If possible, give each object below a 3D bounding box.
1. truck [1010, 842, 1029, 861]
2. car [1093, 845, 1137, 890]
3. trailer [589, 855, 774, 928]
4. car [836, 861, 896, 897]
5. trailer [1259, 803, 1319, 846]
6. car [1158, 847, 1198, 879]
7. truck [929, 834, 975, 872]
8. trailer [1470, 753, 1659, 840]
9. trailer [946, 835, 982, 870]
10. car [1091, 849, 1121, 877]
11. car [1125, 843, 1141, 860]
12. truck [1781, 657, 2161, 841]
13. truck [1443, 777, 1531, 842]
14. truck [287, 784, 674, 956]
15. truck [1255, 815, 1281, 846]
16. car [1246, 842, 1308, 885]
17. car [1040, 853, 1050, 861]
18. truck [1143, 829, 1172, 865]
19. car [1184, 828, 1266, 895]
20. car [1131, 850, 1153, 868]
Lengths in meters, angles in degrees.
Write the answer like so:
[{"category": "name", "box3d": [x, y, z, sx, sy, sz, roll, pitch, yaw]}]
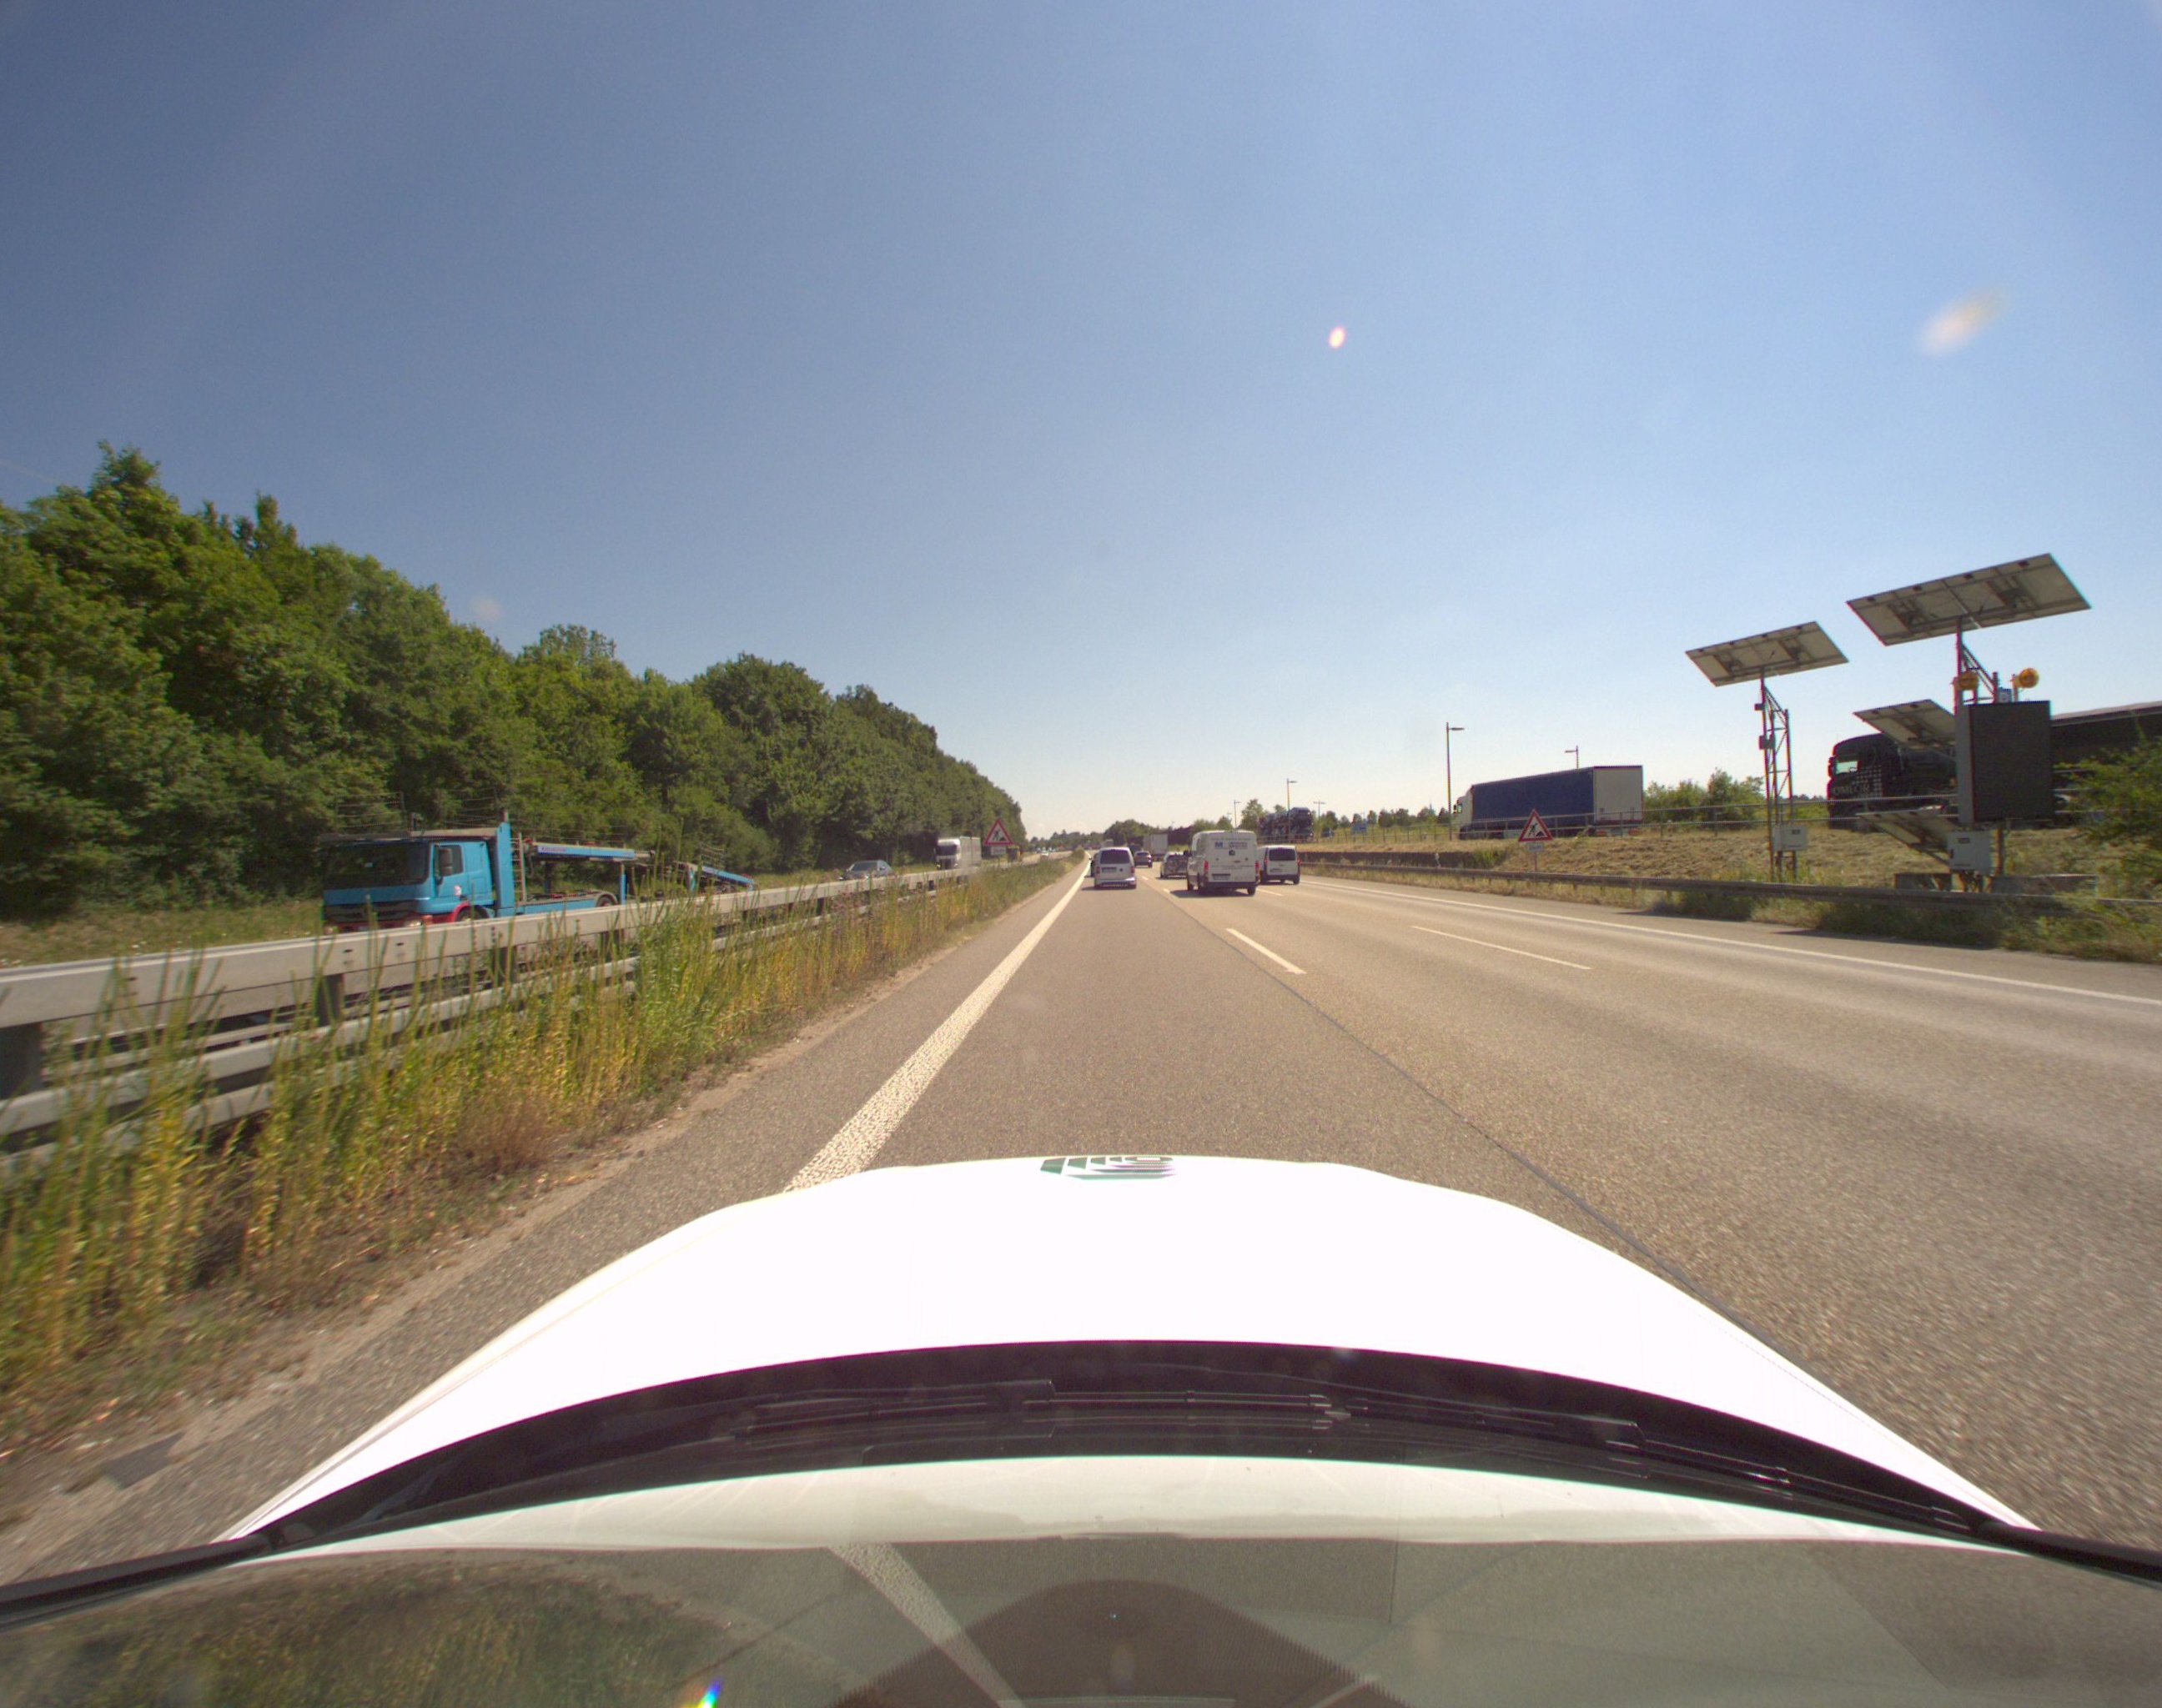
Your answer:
[{"category": "truck", "box3d": [-12.612, -0.501, 167.387, 2.773, 3.738, 11.159, 0, 0, 1]}, {"category": "car", "box3d": [1.490, 0.567, 35.540, 1.738, 1.764, 4.091, -2, 0, 3]}, {"category": "trailer", "box3d": [-16.021, 1.374, 33.650, 3.133, 2.639, 8.537, 0, 0, 3]}, {"category": "car", "box3d": [-11.287, 1.257, 43.066, 1.718, 1.656, 4.861, -4, 0, 1]}, {"category": "trailer", "box3d": [23.842, -3.153, 94.650, 2.596, 4.258, 18.425, 0, 0, 1]}, {"category": "car", "box3d": [5.587, 0.510, 47.270, 1.968, 1.733, 4.091, -2, 0, 3]}, {"category": "truck", "box3d": [-14.966, -0.095, 95.625, 3.442, 3.994, 11.122, -2, 0, 0]}, {"category": "trailer", "box3d": [27.937, -3.035, 48.431, 3.041, 4.083, 14.261, 0, 0, 1]}, {"category": "trailer", "box3d": [-15.000, -0.171, 105.133, 3.442, 4.279, 7.969, 0, 0, 0]}, {"category": "car", "box3d": [1.625, 0.555, 52.449, 1.737, 1.701, 4.092, -2, 0, 3]}, {"category": "car", "box3d": [6.101, -0.263, 95.949, 1.668, 1.891, 4.091, -2, 0, 3]}, {"category": "truck", "box3d": [27.230, -2.555, 23.279, 3.775, 4.083, 12.518, 0, 0, 1]}, {"category": "truck", "box3d": [28.123, -2.986, 56.717, 3.041, 4.083, 6.399, 0, 0, 1]}, {"category": "truck", "box3d": [-16.326, 0.388, 23.857, 2.985, 3.802, 10.793, -2, 0, 2]}, {"category": "truck", "box3d": [24.092, -2.941, 105.002, 2.593, 3.827, 4.001, 0, -1, 1]}, {"category": "car", "box3d": [9.197, 0.427, 38.570, 1.944, 1.838, 4.178, -2, 0, 1]}, {"category": "car", "box3d": [-9.178, 0.775, 207.722, 1.986, 1.670, 5.612, -4, 0, 1]}, {"category": "truck", "box3d": [11.174, -0.959, 120.135, 3.773, 5.000, 12.527, 0, 0, 3]}, {"category": "car", "box3d": [5.247, 0.263, 30.427, 2.174, 2.254, 5.363, -1, 0, 1]}, {"category": "car", "box3d": [5.827, 0.473, 78.154, 1.894, 1.672, 4.091, -2, 0, 3]}]
